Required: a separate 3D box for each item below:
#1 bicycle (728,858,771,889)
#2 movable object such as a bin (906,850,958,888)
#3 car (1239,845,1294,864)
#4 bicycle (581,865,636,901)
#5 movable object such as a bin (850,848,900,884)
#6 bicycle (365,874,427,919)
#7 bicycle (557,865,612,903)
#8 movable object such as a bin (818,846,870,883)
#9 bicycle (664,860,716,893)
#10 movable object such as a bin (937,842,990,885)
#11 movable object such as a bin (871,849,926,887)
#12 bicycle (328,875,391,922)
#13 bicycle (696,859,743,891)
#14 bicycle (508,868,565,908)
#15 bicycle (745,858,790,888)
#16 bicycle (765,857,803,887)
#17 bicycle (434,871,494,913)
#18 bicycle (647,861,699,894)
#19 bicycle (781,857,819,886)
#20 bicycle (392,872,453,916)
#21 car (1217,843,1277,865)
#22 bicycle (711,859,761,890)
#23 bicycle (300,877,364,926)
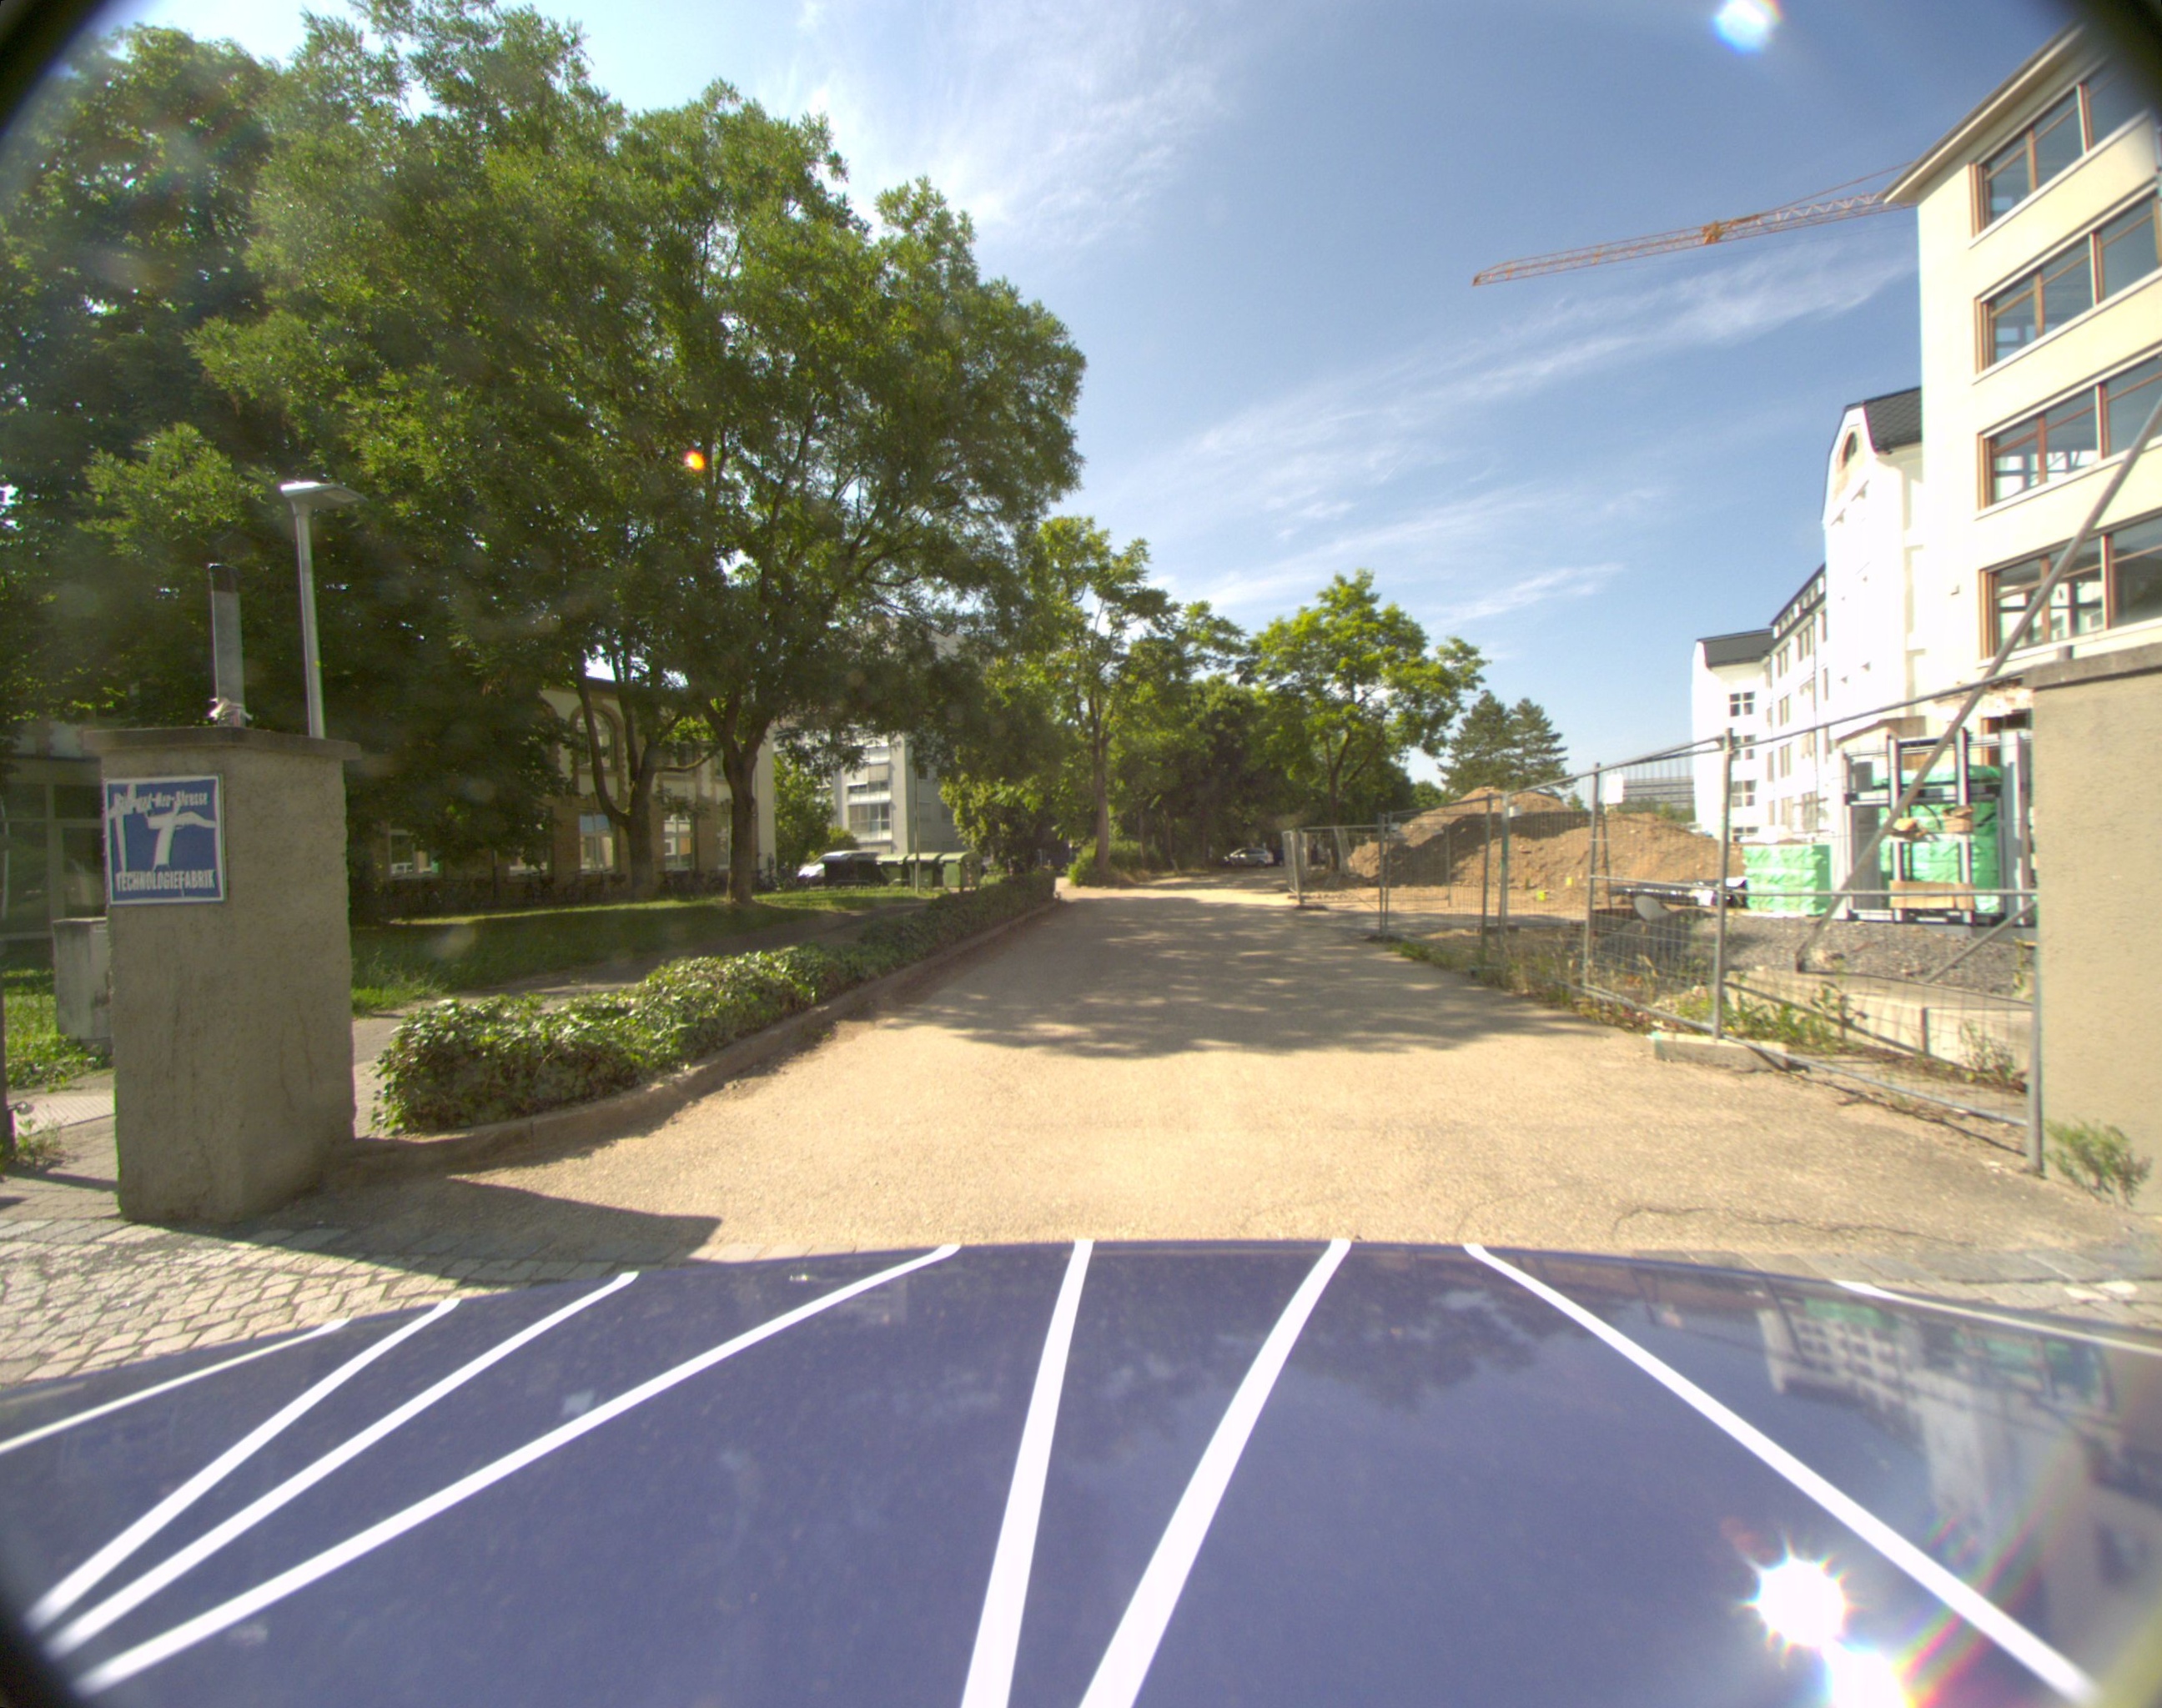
[{"bbox_3d":[-13.011,0.775,29.813,1.909,1.155,0.495,-1,2,30],"label":"bicycle"},{"bbox_3d":[-5.466,0.547,27.835,1.352,1.293,1.217,-1,1,27],"label":"movable object such as a bin"},{"bbox_3d":[15.022,0.033,61.524,3.990,1.434,2.003,-1,1,25],"label":"car"},{"bbox_3d":[-15.786,0.956,25.380,2.097,1.155,0.589,-1,2,30],"label":"bicycle"},{"bbox_3d":[-8.013,0.452,29.528,1.349,1.341,1.217,-1,1,27],"label":"movable object such as a bin"},{"bbox_3d":[-18.611,1.132,20.630,2.097,1.155,0.589,-1,2,30],"label":"bicycle"},{"bbox_3d":[-16.149,0.963,24.693,2.097,1.155,0.589,-1,2,30],"label":"bicycle"},{"bbox_3d":[-9.420,0.418,30.226,1.432,1.401,1.252,-1,1,26],"label":"movable object such as a bin"},{"bbox_3d":[-14.289,0.812,27.756,2.097,1.155,0.589,-1,2,30],"label":"bicycle"},{"bbox_3d":[-4.204,0.323,27.138,1.388,1.454,1.218,-1,2,42],"label":"movable object such as a bin"},{"bbox_3d":[-6.844,0.524,28.545,1.498,1.354,1.217,-1,1,27],"label":"movable object such as a bin"},{"bbox_3d":[-18.991,1.153,19.992,2.097,1.155,0.589,-1,2,30],"label":"bicycle"},{"bbox_3d":[-13.639,0.803,28.646,1.917,1.155,0.589,-1,2,30],"label":"bicycle"},{"bbox_3d":[-16.873,1.046,23.538,2.097,1.155,0.589,-1,2,30],"label":"bicycle"},{"bbox_3d":[-12.618,0.751,30.583,1.846,1.155,0.614,-1,2,30],"label":"bicycle"},{"bbox_3d":[-12.156,0.738,31.063,1.800,1.155,0.508,-1,2,35],"label":"bicycle"},{"bbox_3d":[-17.874,1.079,22.002,2.097,1.155,0.589,-1,2,30],"label":"bicycle"},{"bbox_3d":[-14.581,0.841,27.150,2.097,1.155,0.589,-1,2,30],"label":"bicycle"},{"bbox_3d":[-11.643,0.707,31.449,1.939,1.155,0.558,-1,2,40],"label":"bicycle"},{"bbox_3d":[-18.402,1.106,21.230,2.097,1.155,0.589,-1,2,30],"label":"bicycle"},{"bbox_3d":[12.364,0.019,56.733,3.990,1.499,2.003,-1,1,25],"label":"car"},{"bbox_3d":[-13.321,0.785,29.328,2.097,1.155,0.589,-1,2,30],"label":"bicycle"},{"bbox_3d":[-18.944,1.179,19.203,2.097,1.155,0.589,-1,2,30],"label":"bicycle"}]
